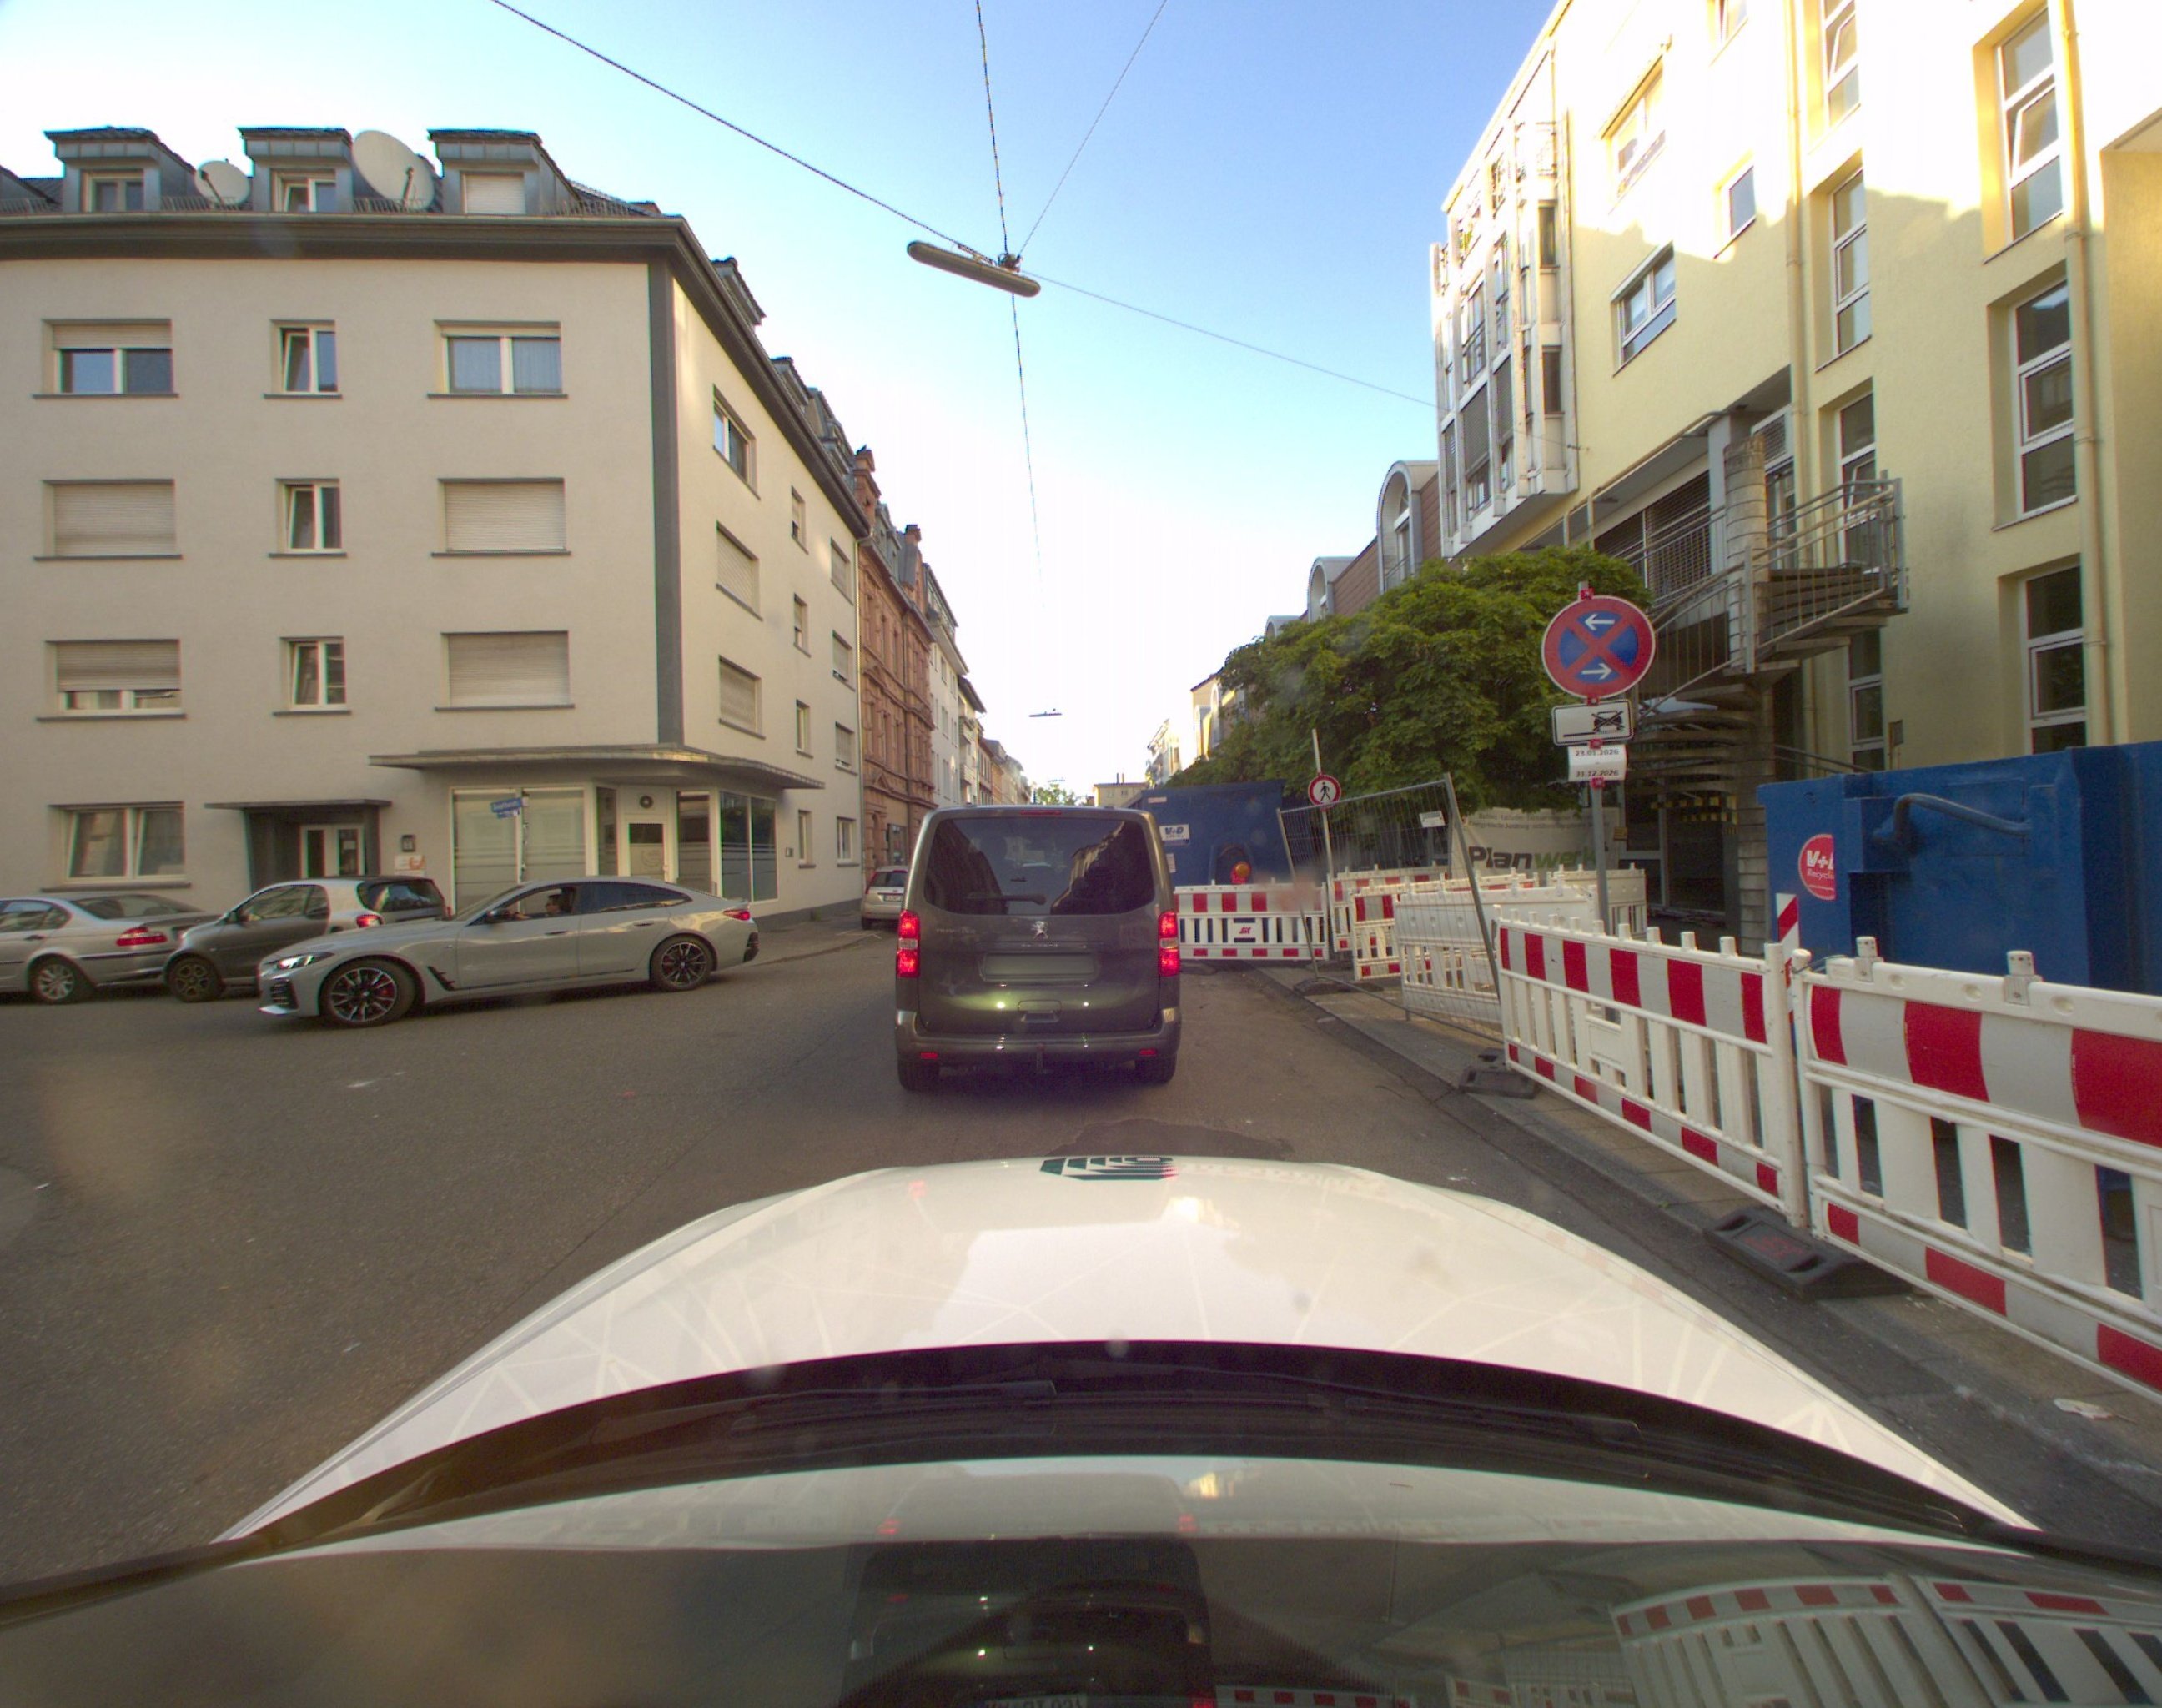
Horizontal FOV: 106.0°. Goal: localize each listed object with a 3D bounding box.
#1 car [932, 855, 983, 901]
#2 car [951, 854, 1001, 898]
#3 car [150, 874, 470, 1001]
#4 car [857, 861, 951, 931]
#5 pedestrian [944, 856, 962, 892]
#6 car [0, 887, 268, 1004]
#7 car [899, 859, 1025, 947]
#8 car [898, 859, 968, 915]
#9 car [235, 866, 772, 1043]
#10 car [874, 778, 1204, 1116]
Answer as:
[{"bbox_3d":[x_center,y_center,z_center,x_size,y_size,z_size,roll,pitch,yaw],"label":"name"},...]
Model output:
[{"bbox_3d":[-4.797,0.916,31.978,1.663,1.666,3.087,3,-1,-4],"label":"car"},{"bbox_3d":[-4.536,0.935,35.619,1.888,1.720,3.748,3,-1,-4],"label":"car"},{"bbox_3d":[-10.286,1.064,11.036,2.778,1.540,1.593,0,0,-1],"label":"car"},{"bbox_3d":[-4.148,0.959,19.561,1.653,1.460,3.412,3,-1,-4],"label":"car"},{"bbox_3d":[-6.016,0.916,38.367,0.739,1.664,0.702,-2,0,-5],"label":"pedestrian"},{"bbox_3d":[-14.206,1.238,11.253,4.193,1.403,1.602,-1,0,-2],"label":"car"},{"bbox_3d":[-2.206,0.896,15.945,1.648,1.460,3.422,-3,-2,4],"label":"car"},{"bbox_3d":[-4.448,0.960,24.881,1.653,1.525,3.412,3,-1,-4],"label":"car"},{"bbox_3d":[-6.488,0.966,9.741,4.837,1.451,1.911,-2,0,-41],"label":"car"},{"bbox_3d":[-0.377,0.547,6.788,1.862,1.886,4.228,-1,-1,-4],"label":"car"}]
